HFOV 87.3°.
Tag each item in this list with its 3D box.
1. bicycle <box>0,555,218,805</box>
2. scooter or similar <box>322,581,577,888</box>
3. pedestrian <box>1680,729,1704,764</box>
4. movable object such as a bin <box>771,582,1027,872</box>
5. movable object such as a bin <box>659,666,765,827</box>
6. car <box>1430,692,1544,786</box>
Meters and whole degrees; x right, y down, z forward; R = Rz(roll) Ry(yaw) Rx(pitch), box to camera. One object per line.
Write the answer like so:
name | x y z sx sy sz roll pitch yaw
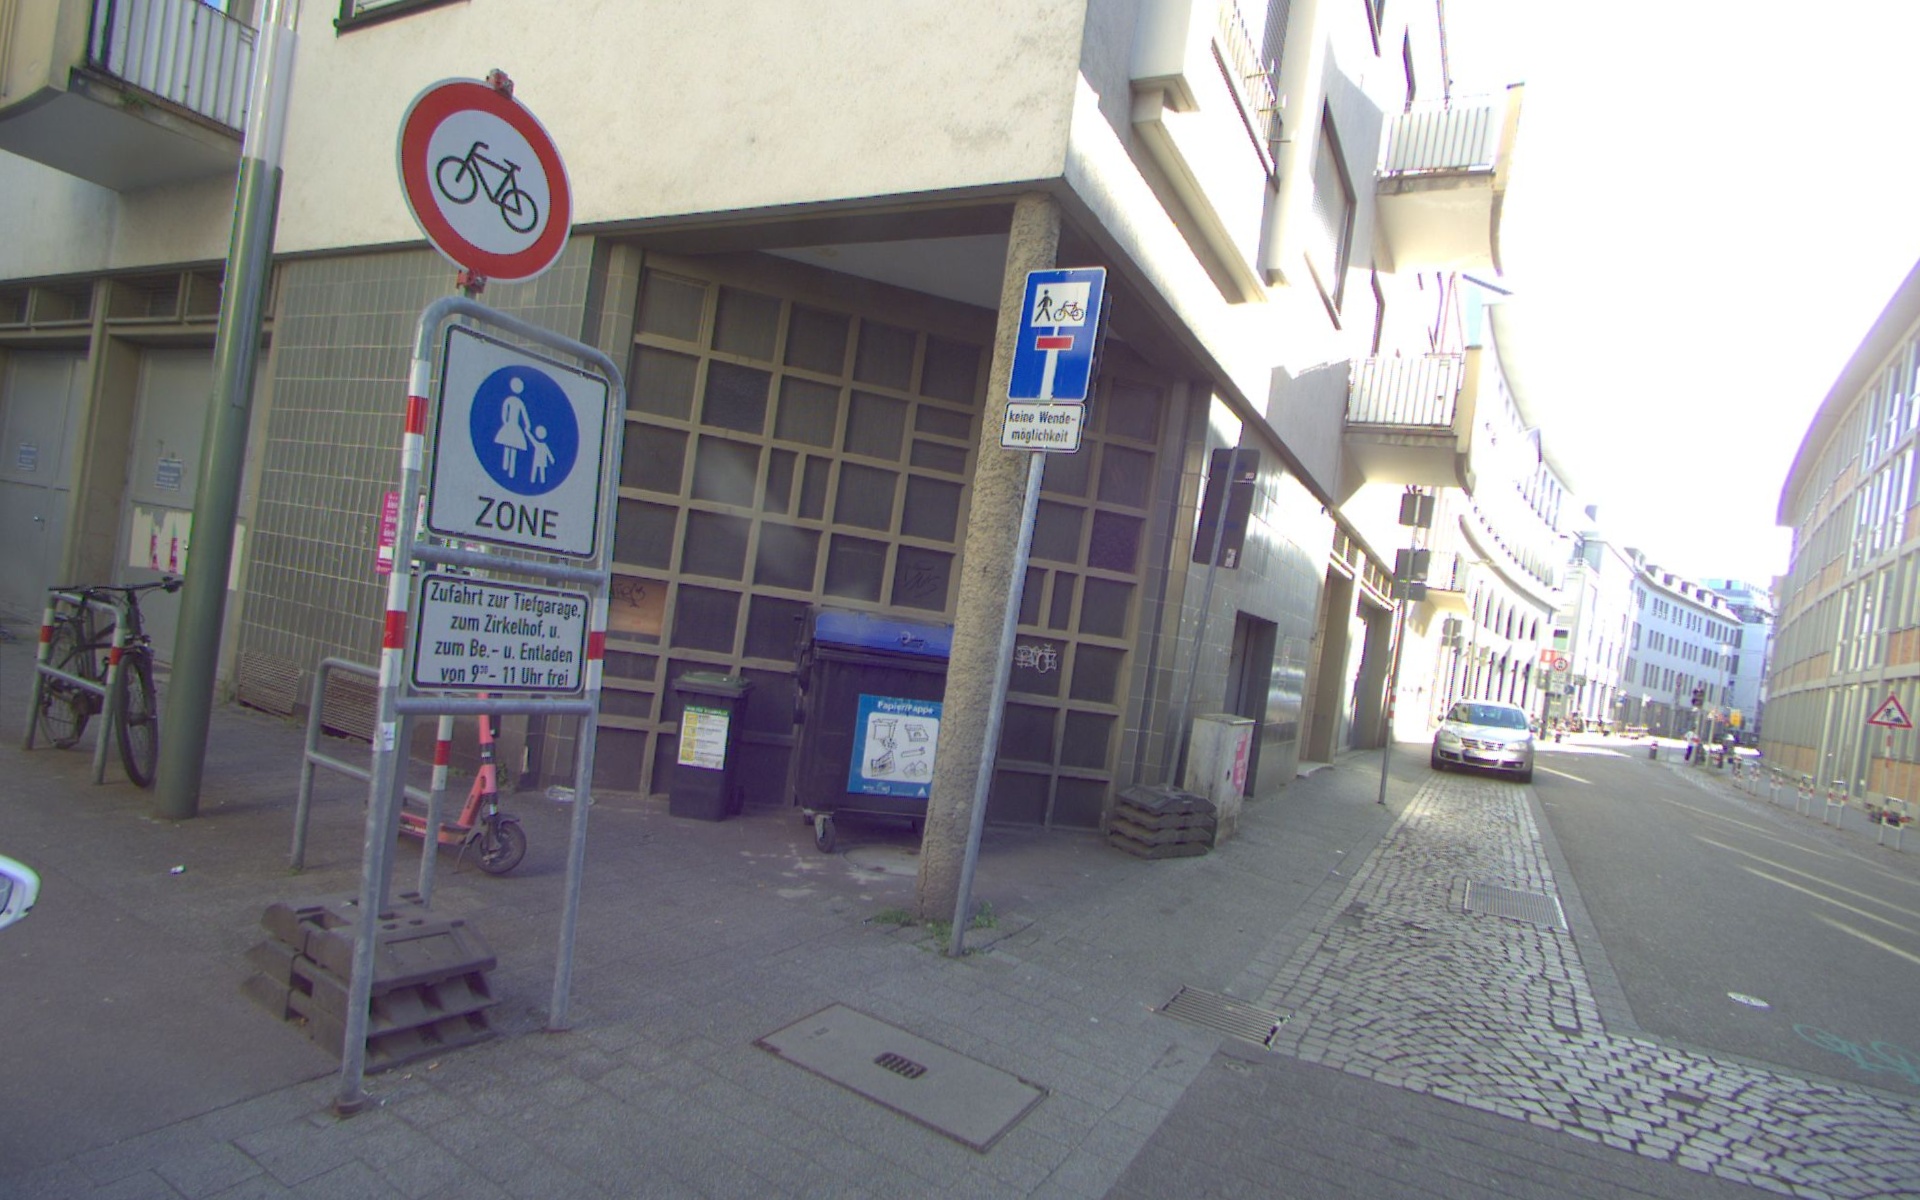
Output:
bicycle | -4.843 0.400 5.656 1.683 1.153 0.447 6 -1 34
scooter or similar | -2.520 0.615 4.935 1.217 1.268 0.308 7 0 26
pedestrian | 32.977 6.582 45.308 0.648 1.458 0.595 8 0 31
movable object such as a bin | -0.455 0.788 6.637 1.272 1.609 1.151 8 1 -16
movable object such as a bin | -1.638 0.950 6.613 0.534 0.935 0.511 7 0 -18
car | 10.613 2.703 20.225 1.741 1.487 3.809 6 -2 29
